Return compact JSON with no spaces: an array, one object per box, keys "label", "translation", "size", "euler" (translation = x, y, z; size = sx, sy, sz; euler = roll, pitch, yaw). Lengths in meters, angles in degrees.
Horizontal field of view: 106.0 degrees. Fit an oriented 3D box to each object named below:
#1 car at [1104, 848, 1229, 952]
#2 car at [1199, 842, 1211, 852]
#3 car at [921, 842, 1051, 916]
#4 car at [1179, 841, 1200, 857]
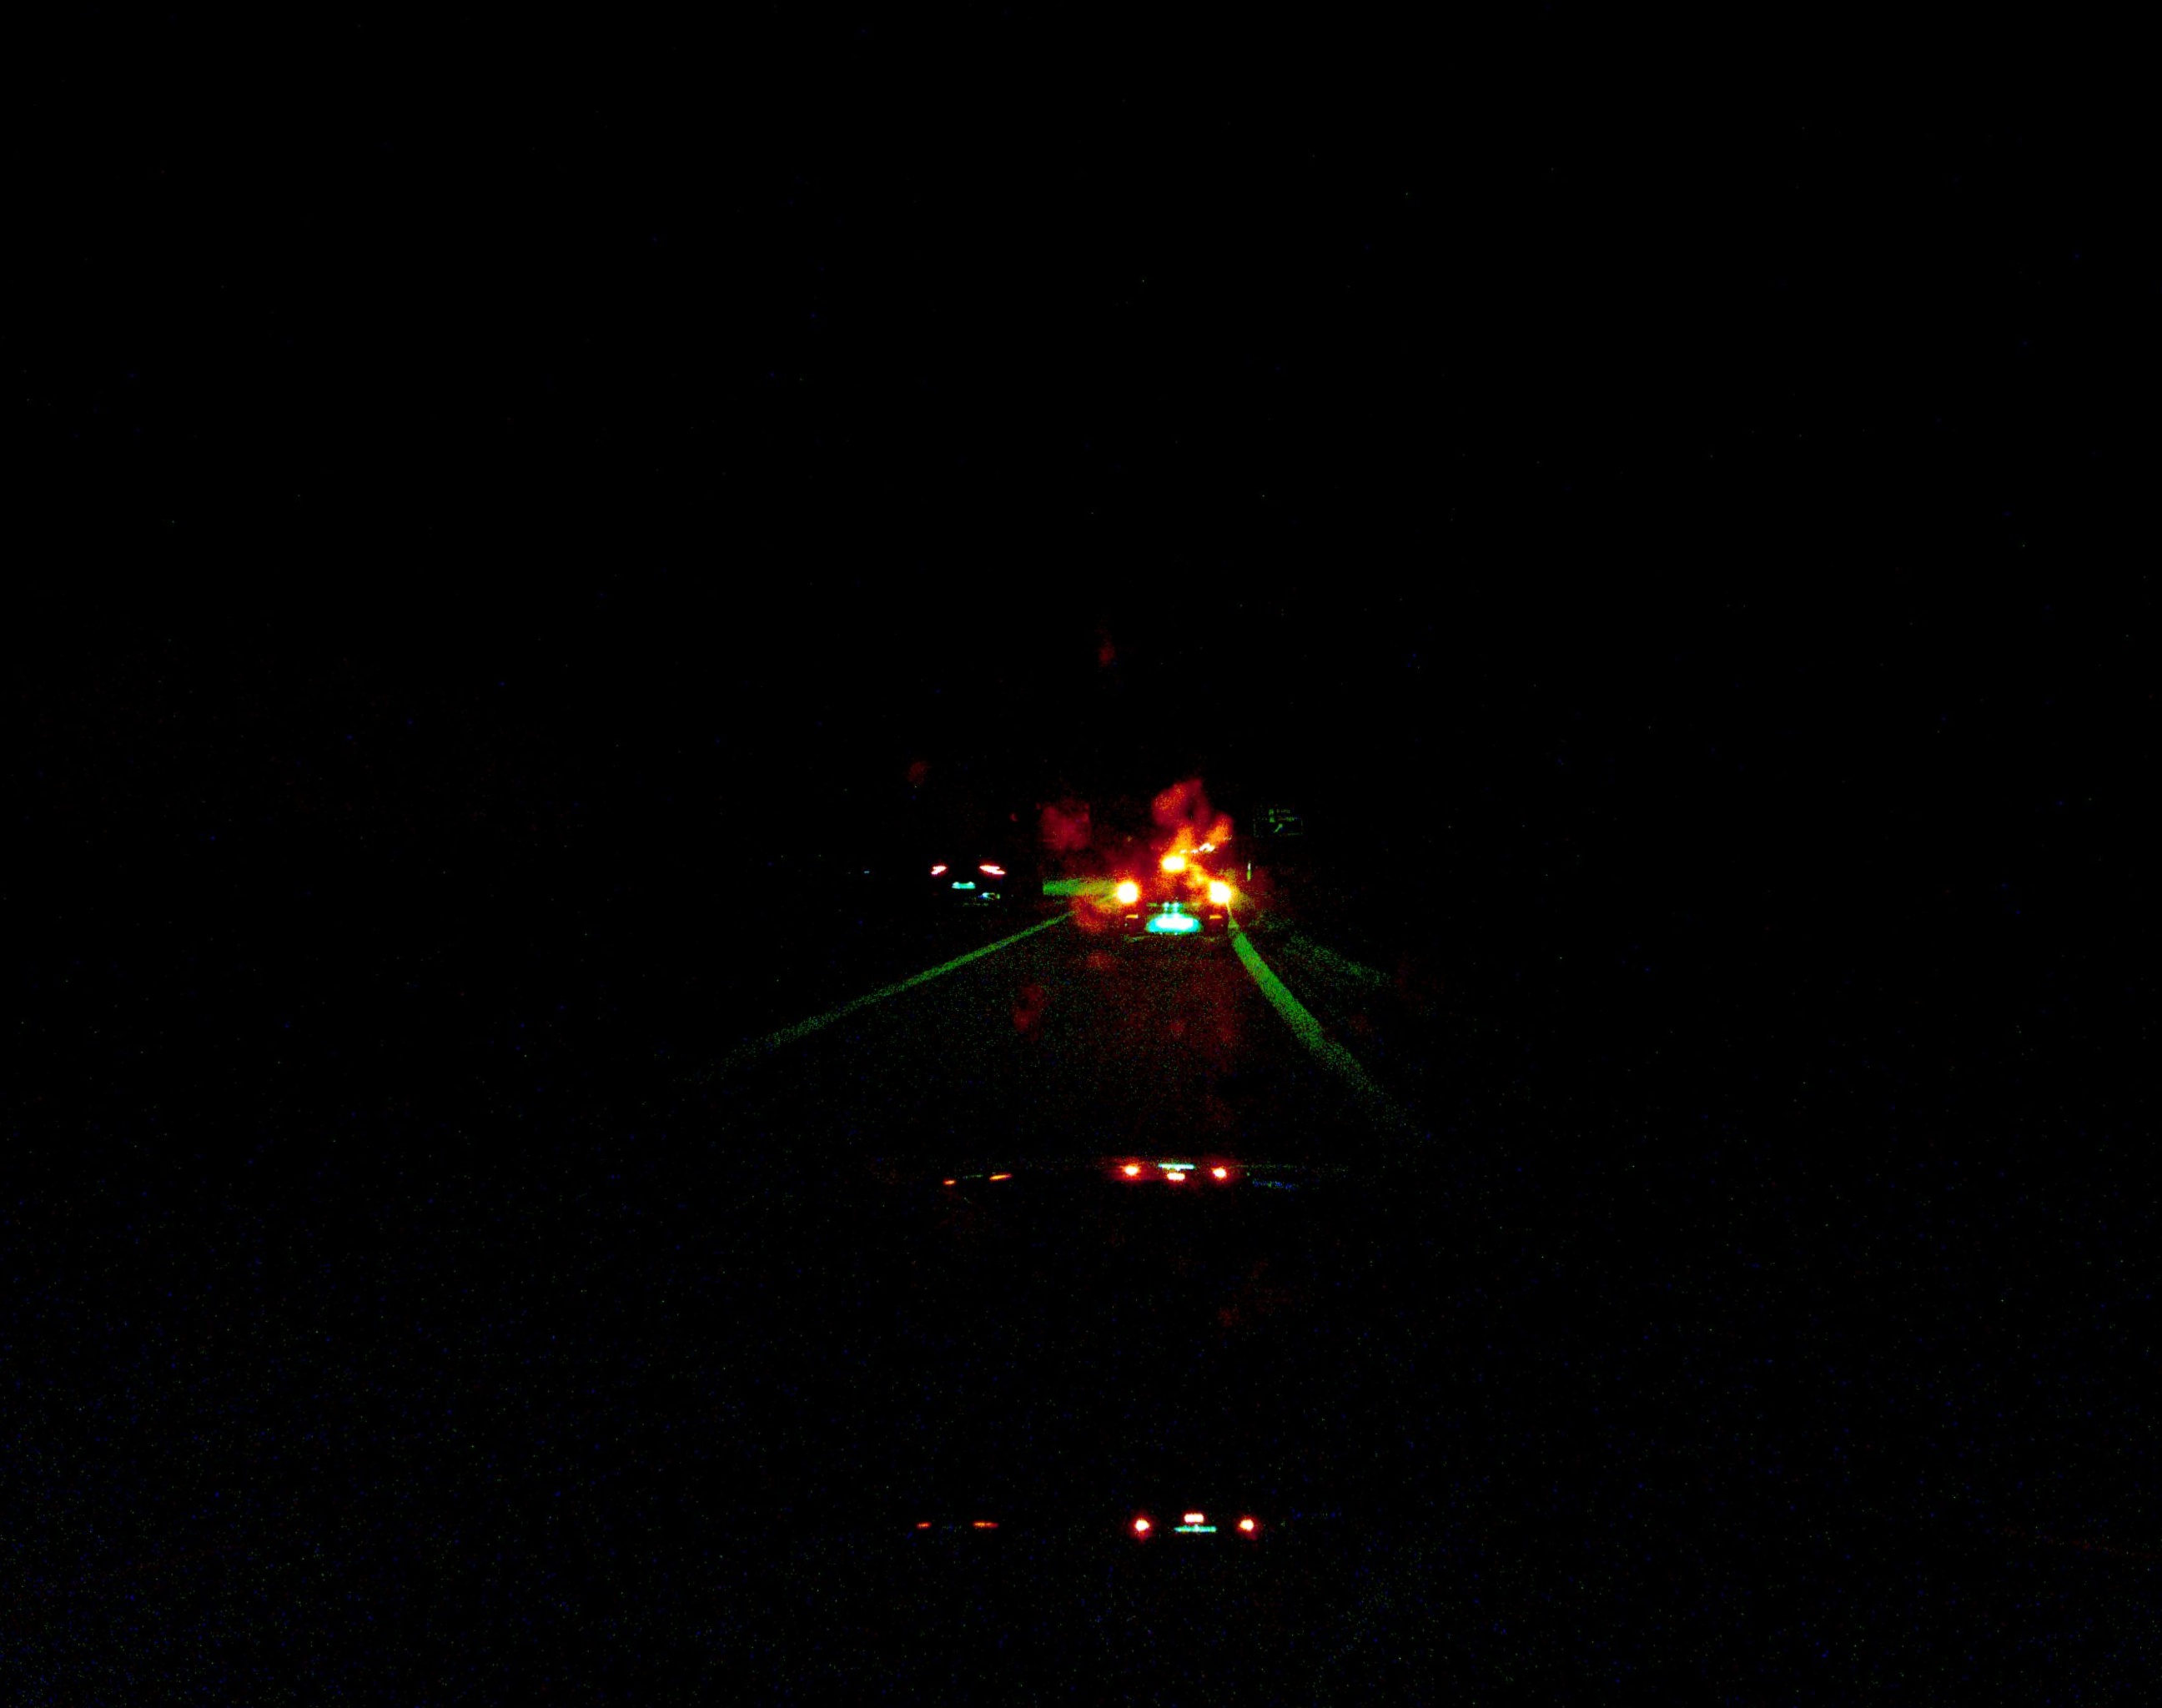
[{"label":"car","translation":[1.273,0.637,13.601],"size":[1.686,1.477,4.000],"euler":[0,0,0]},{"label":"car","translation":[19.704,-1.096,129.137],"size":[1.723,1.618,3.808],"euler":[-1,1,9]},{"label":"car","translation":[-2.172,0.524,20.081],"size":[1.928,1.608,4.656],"euler":[0,0,10]},{"label":"car","translation":[11.767,-0.525,88.252],"size":[1.940,1.538,4.251],"euler":[-6,-2,9]}]
